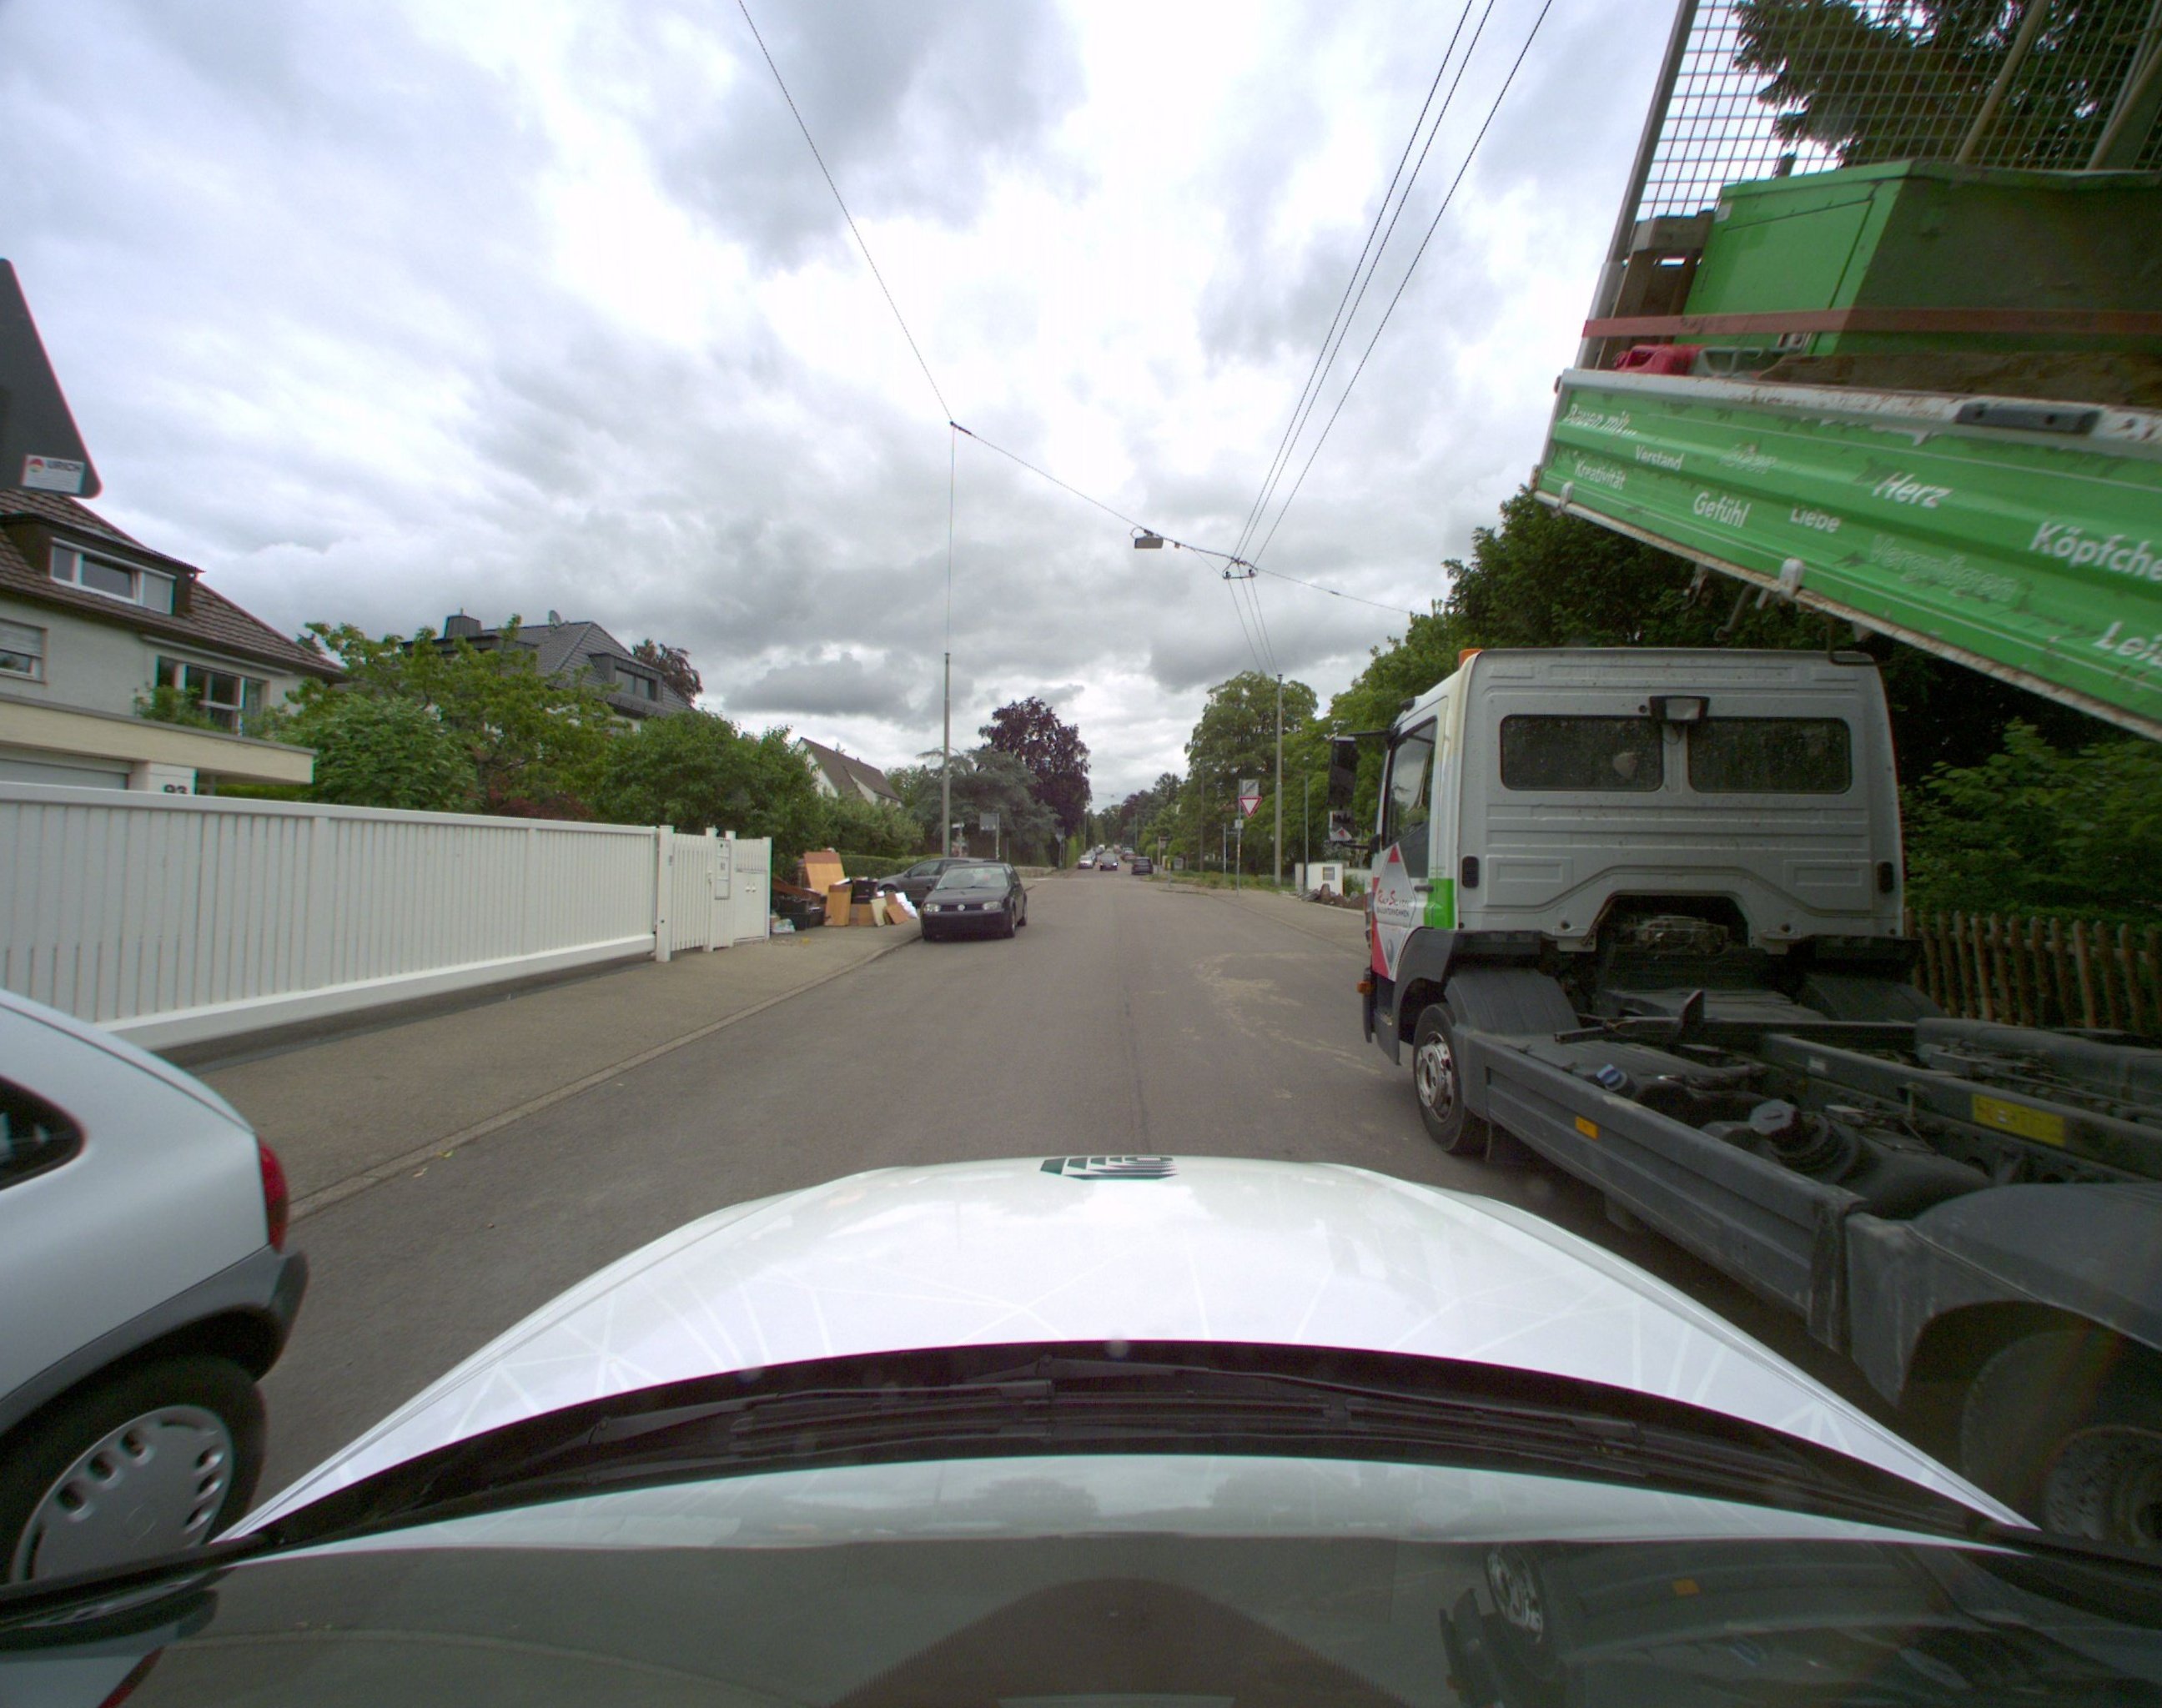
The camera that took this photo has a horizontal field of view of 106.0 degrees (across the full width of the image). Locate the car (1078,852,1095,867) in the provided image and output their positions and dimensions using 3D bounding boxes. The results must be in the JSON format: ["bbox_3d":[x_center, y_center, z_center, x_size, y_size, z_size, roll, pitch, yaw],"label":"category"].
[{"bbox_3d":[0.641,0.611,92.768,1.703,1.586,4.005,0,0,5],"label":"car"}]

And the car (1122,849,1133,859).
[{"bbox_3d":[7.164,0.042,125.106,1.782,1.529,3.737,0,0,3],"label":"car"}]

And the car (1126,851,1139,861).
[{"bbox_3d":[7.341,0.260,116.235,1.804,1.335,3.633,2,1,1],"label":"car"}]

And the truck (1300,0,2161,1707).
[{"bbox_3d":[2.930,-0.876,3.096,2.514,4.748,7.192,1,0,3],"label":"truck"}]

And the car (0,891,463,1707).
[{"bbox_3d":[-2.626,0.849,0.280,1.589,1.433,4.003,-2,0,3],"label":"car"}]

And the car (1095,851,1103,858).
[{"bbox_3d":[3.951,0.071,181.179,1.620,1.386,3.599,2,0,1],"label":"car"}]

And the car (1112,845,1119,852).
[{"bbox_3d":[8.755,-1.295,206.095,1.628,1.701,3.495,1,0,1],"label":"car"}]

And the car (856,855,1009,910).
[{"bbox_3d":[-4.290,0.784,23.700,3.955,1.444,1.835,0,1,18],"label":"car"}]

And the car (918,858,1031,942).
[{"bbox_3d":[-2.007,0.827,16.377,1.631,1.395,3.989,-2,0,1],"label":"car"}]

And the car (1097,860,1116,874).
[{"bbox_3d":[2.707,1.361,84.815,1.719,1.407,3.810,0,0,6],"label":"car"}]

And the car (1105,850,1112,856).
[{"bbox_3d":[8.784,-0.299,260.465,1.986,1.882,4.001,2,0,1],"label":"car"}]

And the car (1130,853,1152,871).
[{"bbox_3d":[5.306,0.695,72.660,1.772,1.489,4.001,0,0,1],"label":"car"}]

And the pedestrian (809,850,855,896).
[{"bbox_3d":[-6.840,0.515,22.345,0.954,1.225,0.827,1,-1,-40],"label":"pedestrian"}]

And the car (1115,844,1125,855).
[{"bbox_3d":[6.492,-0.763,137.095,1.628,1.701,3.495,1,0,1],"label":"car"}]
